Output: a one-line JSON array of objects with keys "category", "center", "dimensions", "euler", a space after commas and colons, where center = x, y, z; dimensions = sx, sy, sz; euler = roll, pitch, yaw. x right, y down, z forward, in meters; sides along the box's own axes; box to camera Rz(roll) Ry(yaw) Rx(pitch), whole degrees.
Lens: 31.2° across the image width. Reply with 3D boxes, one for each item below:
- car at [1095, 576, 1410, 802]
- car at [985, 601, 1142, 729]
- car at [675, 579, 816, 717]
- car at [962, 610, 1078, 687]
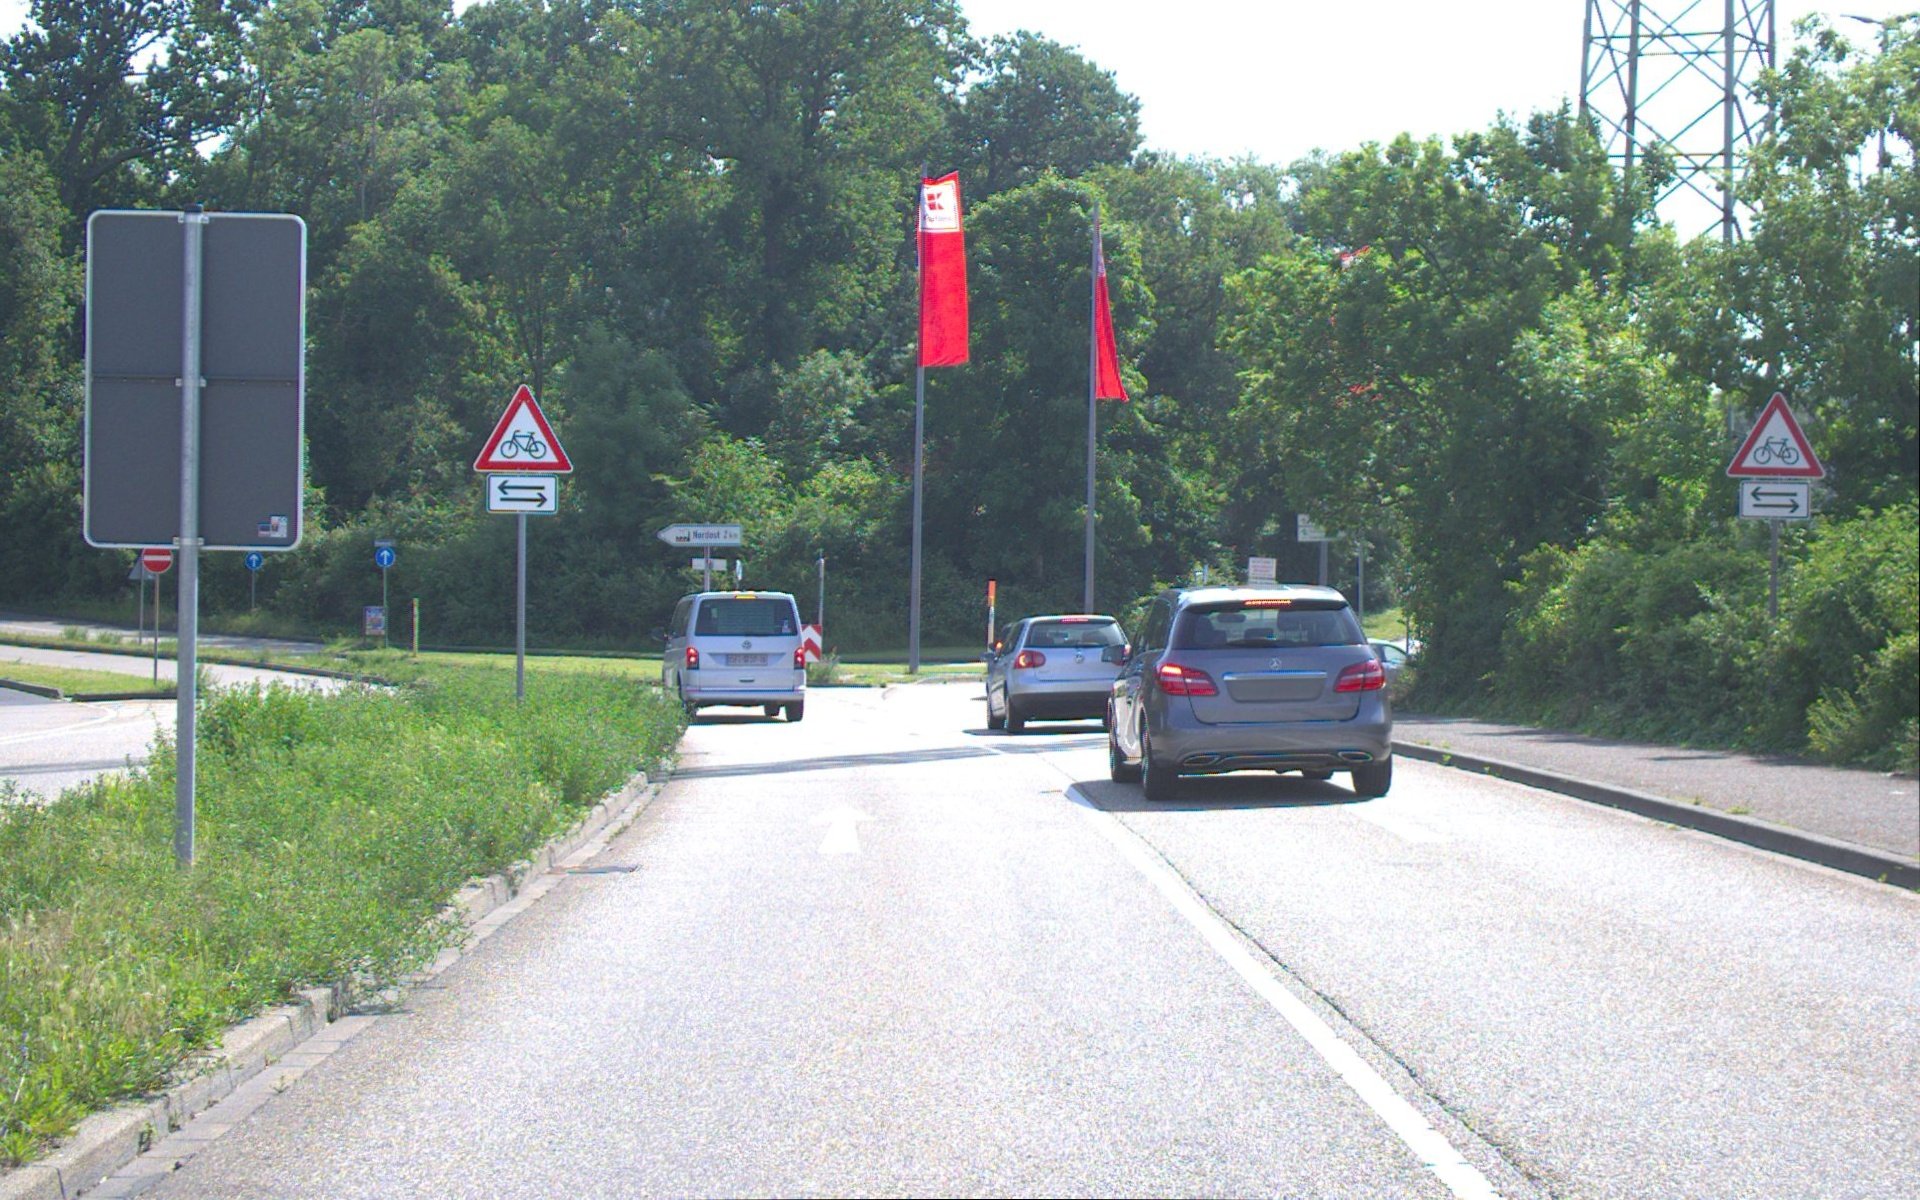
[{"category": "car", "center": [2.110, 0.605, 25.938], "dimensions": [1.856, 1.524, 4.144], "euler": [-1, 0, -2]}, {"category": "car", "center": [1.281, 0.803, 44.064], "dimensions": [1.856, 1.524, 4.144], "euler": [-1, 0, 0]}, {"category": "car", "center": [-3.329, 0.698, 52.660], "dimensions": [2.039, 2.007, 4.001], "euler": [0, 0, -5]}, {"category": "car", "center": [1.183, 0.923, 66.398], "dimensions": [1.774, 1.327, 3.739], "euler": [0, 1, 8]}]
